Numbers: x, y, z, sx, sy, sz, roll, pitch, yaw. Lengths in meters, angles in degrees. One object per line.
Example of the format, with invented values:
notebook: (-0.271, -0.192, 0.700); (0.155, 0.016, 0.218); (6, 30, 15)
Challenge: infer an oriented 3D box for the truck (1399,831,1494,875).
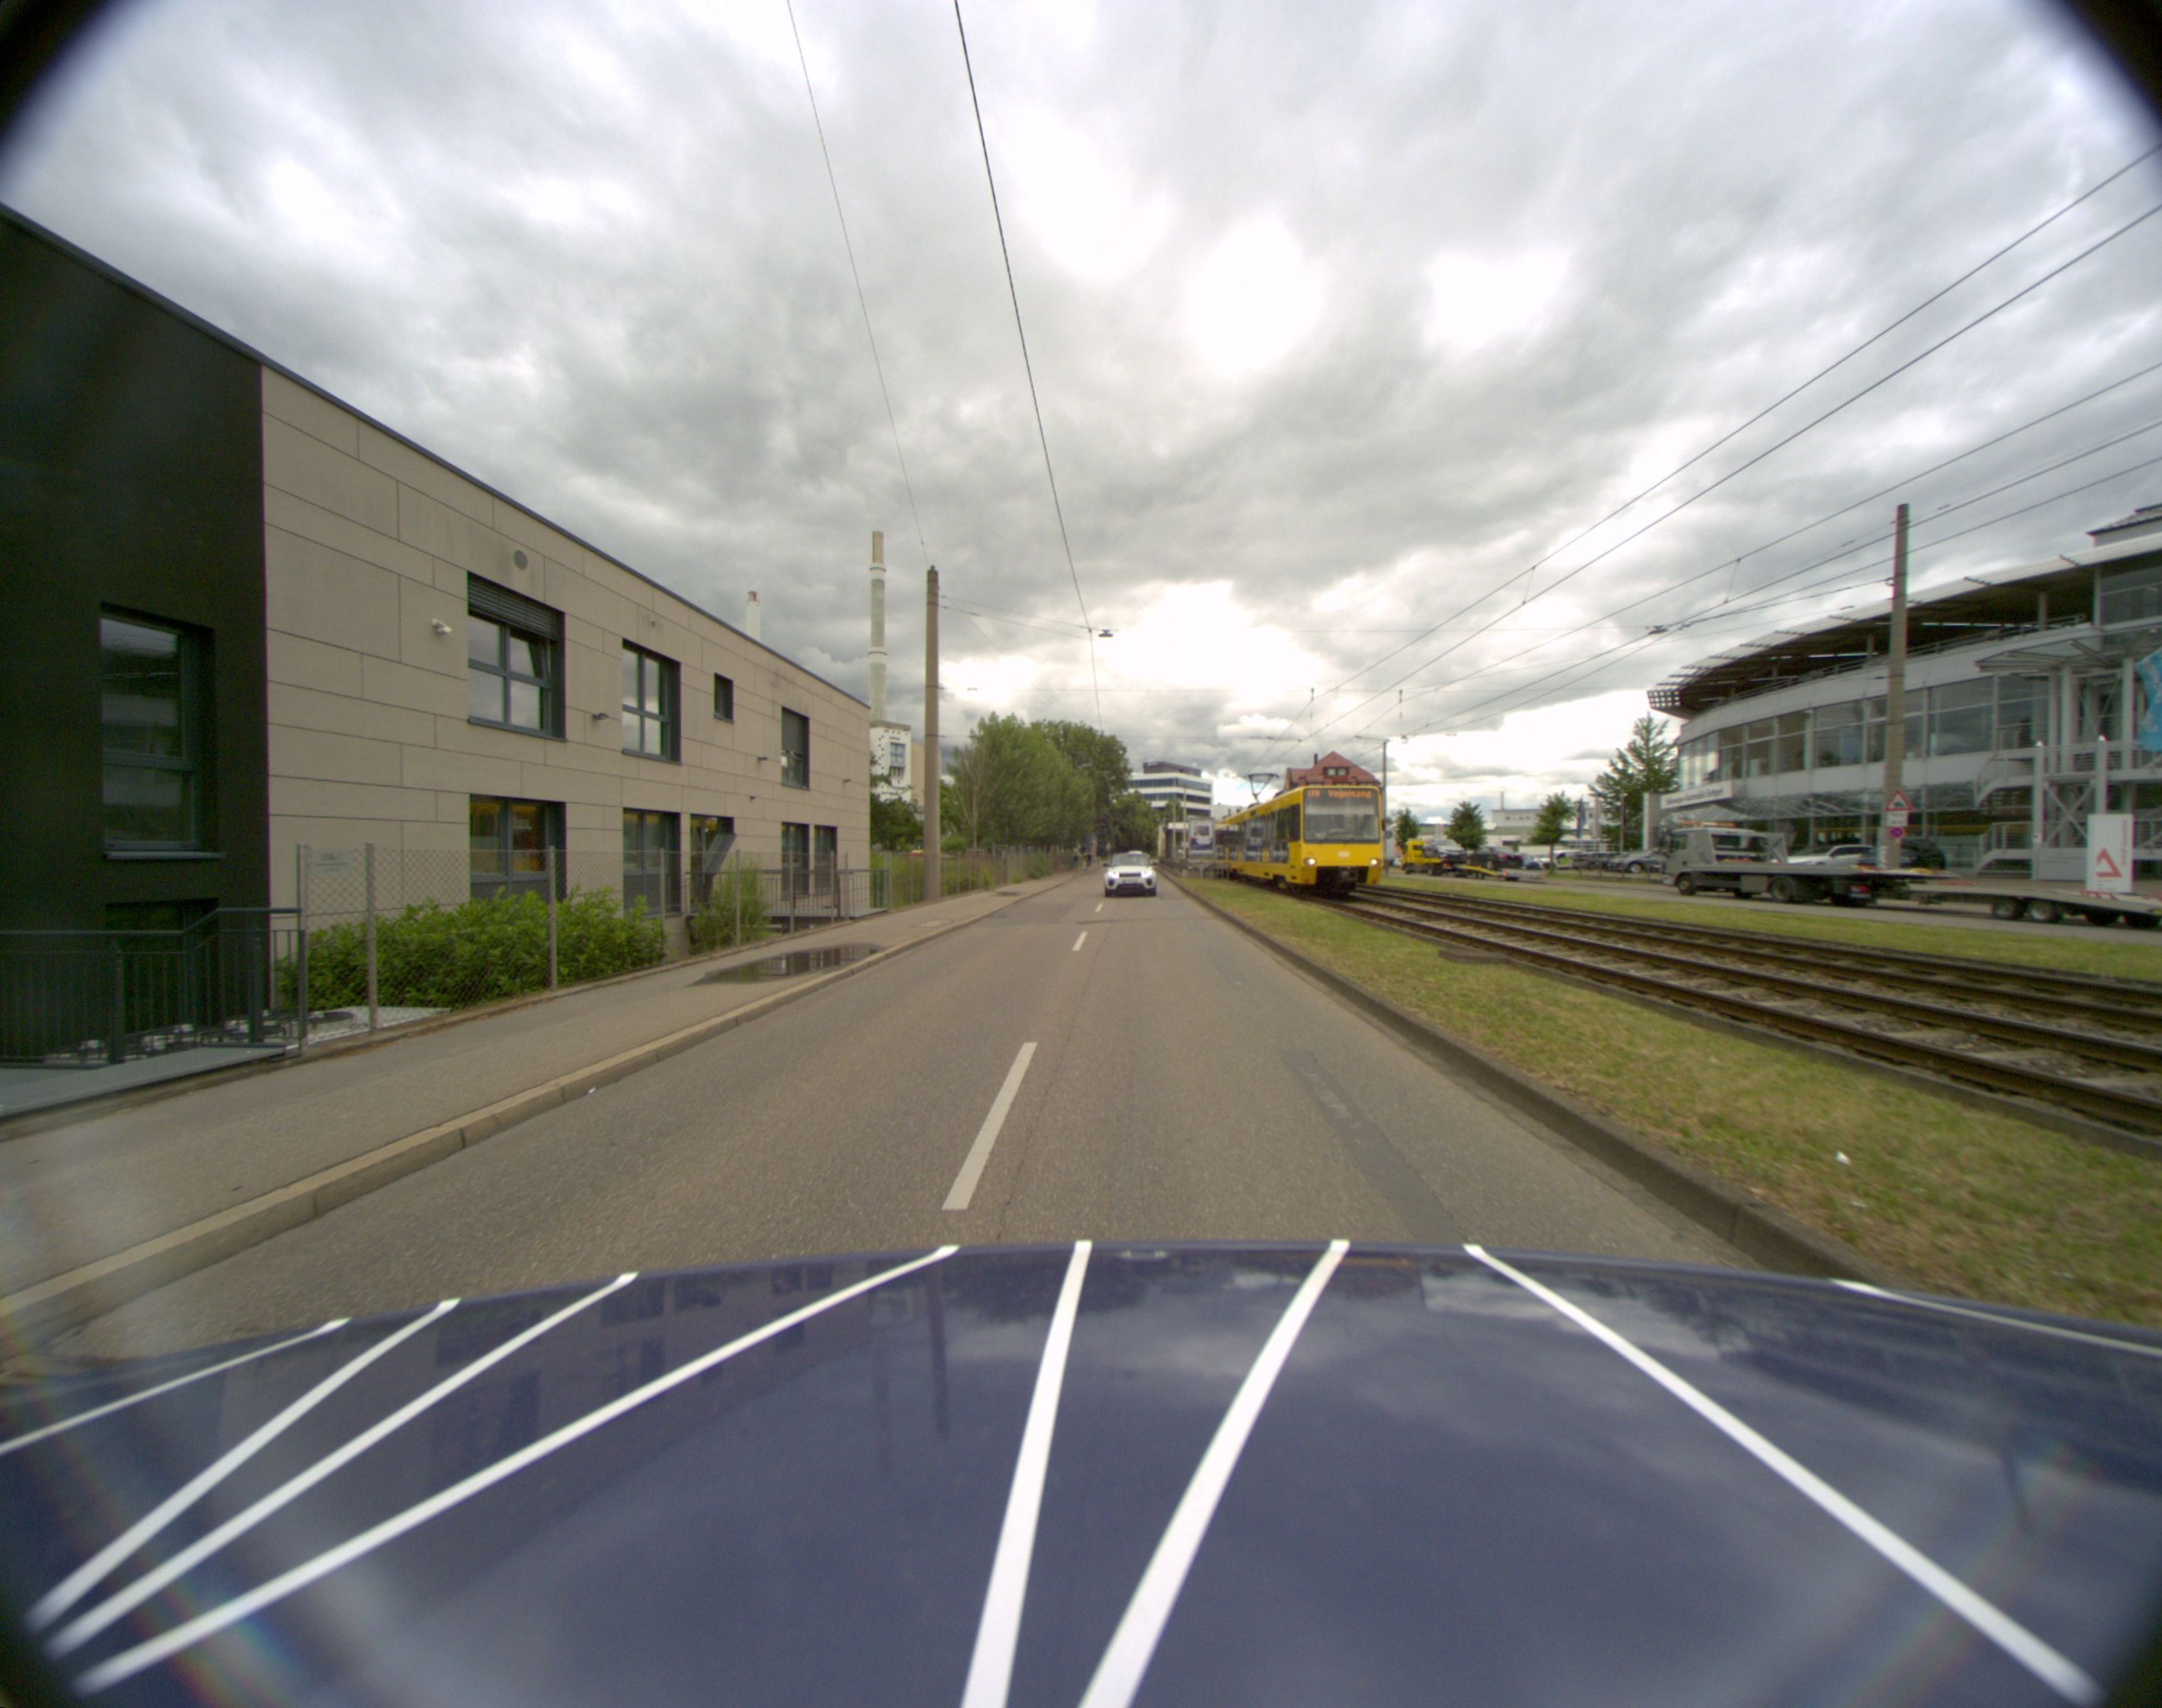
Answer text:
truck: (25.584, -0.051, 53.723); (3.056, 2.843, 9.070); (0, 0, 5)

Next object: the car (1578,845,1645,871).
car: (41.254, 0.273, 59.211); (3.989, 1.936, 2.004); (0, 1, 26)

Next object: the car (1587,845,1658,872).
car: (39.948, 0.302, 56.184); (3.989, 1.936, 2.004); (0, 1, 26)

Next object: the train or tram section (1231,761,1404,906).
train or tram section: (8.326, -0.694, 29.855); (3.395, 3.984, 16.950); (-2, 1, 7)

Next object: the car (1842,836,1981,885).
car: (34.628, 0.250, 31.742); (4.000, 1.936, 1.998); (0, 1, -8)

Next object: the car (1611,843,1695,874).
car: (36.621, 0.272, 48.778); (3.990, 1.936, 2.003); (0, 1, 25)

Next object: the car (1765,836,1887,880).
car: (34.525, 0.171, 35.271); (4.000, 1.936, 1.998); (0, 1, -8)

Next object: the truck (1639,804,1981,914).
truck: (23.256, 0.114, 25.308); (3.114, 2.905, 8.964); (2, 0, 4)

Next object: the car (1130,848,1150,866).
car: (6.329, 0.301, 82.301); (1.998, 1.882, 4.627); (0, 0, 2)

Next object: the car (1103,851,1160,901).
car: (1.962, 0.784, 29.046); (1.998, 1.718, 4.001); (-2, 0, 5)

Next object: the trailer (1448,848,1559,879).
trailer: (24.972, 0.503, 45.417); (2.984, 1.678, 7.571); (0, 0, 5)

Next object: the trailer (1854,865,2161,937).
trailer: (22.612, 1.002, 17.353); (3.055, 1.270, 7.008); (2, 0, 4)

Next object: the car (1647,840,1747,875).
car: (35.400, 0.165, 43.780); (3.992, 1.936, 2.002); (0, 1, 16)
